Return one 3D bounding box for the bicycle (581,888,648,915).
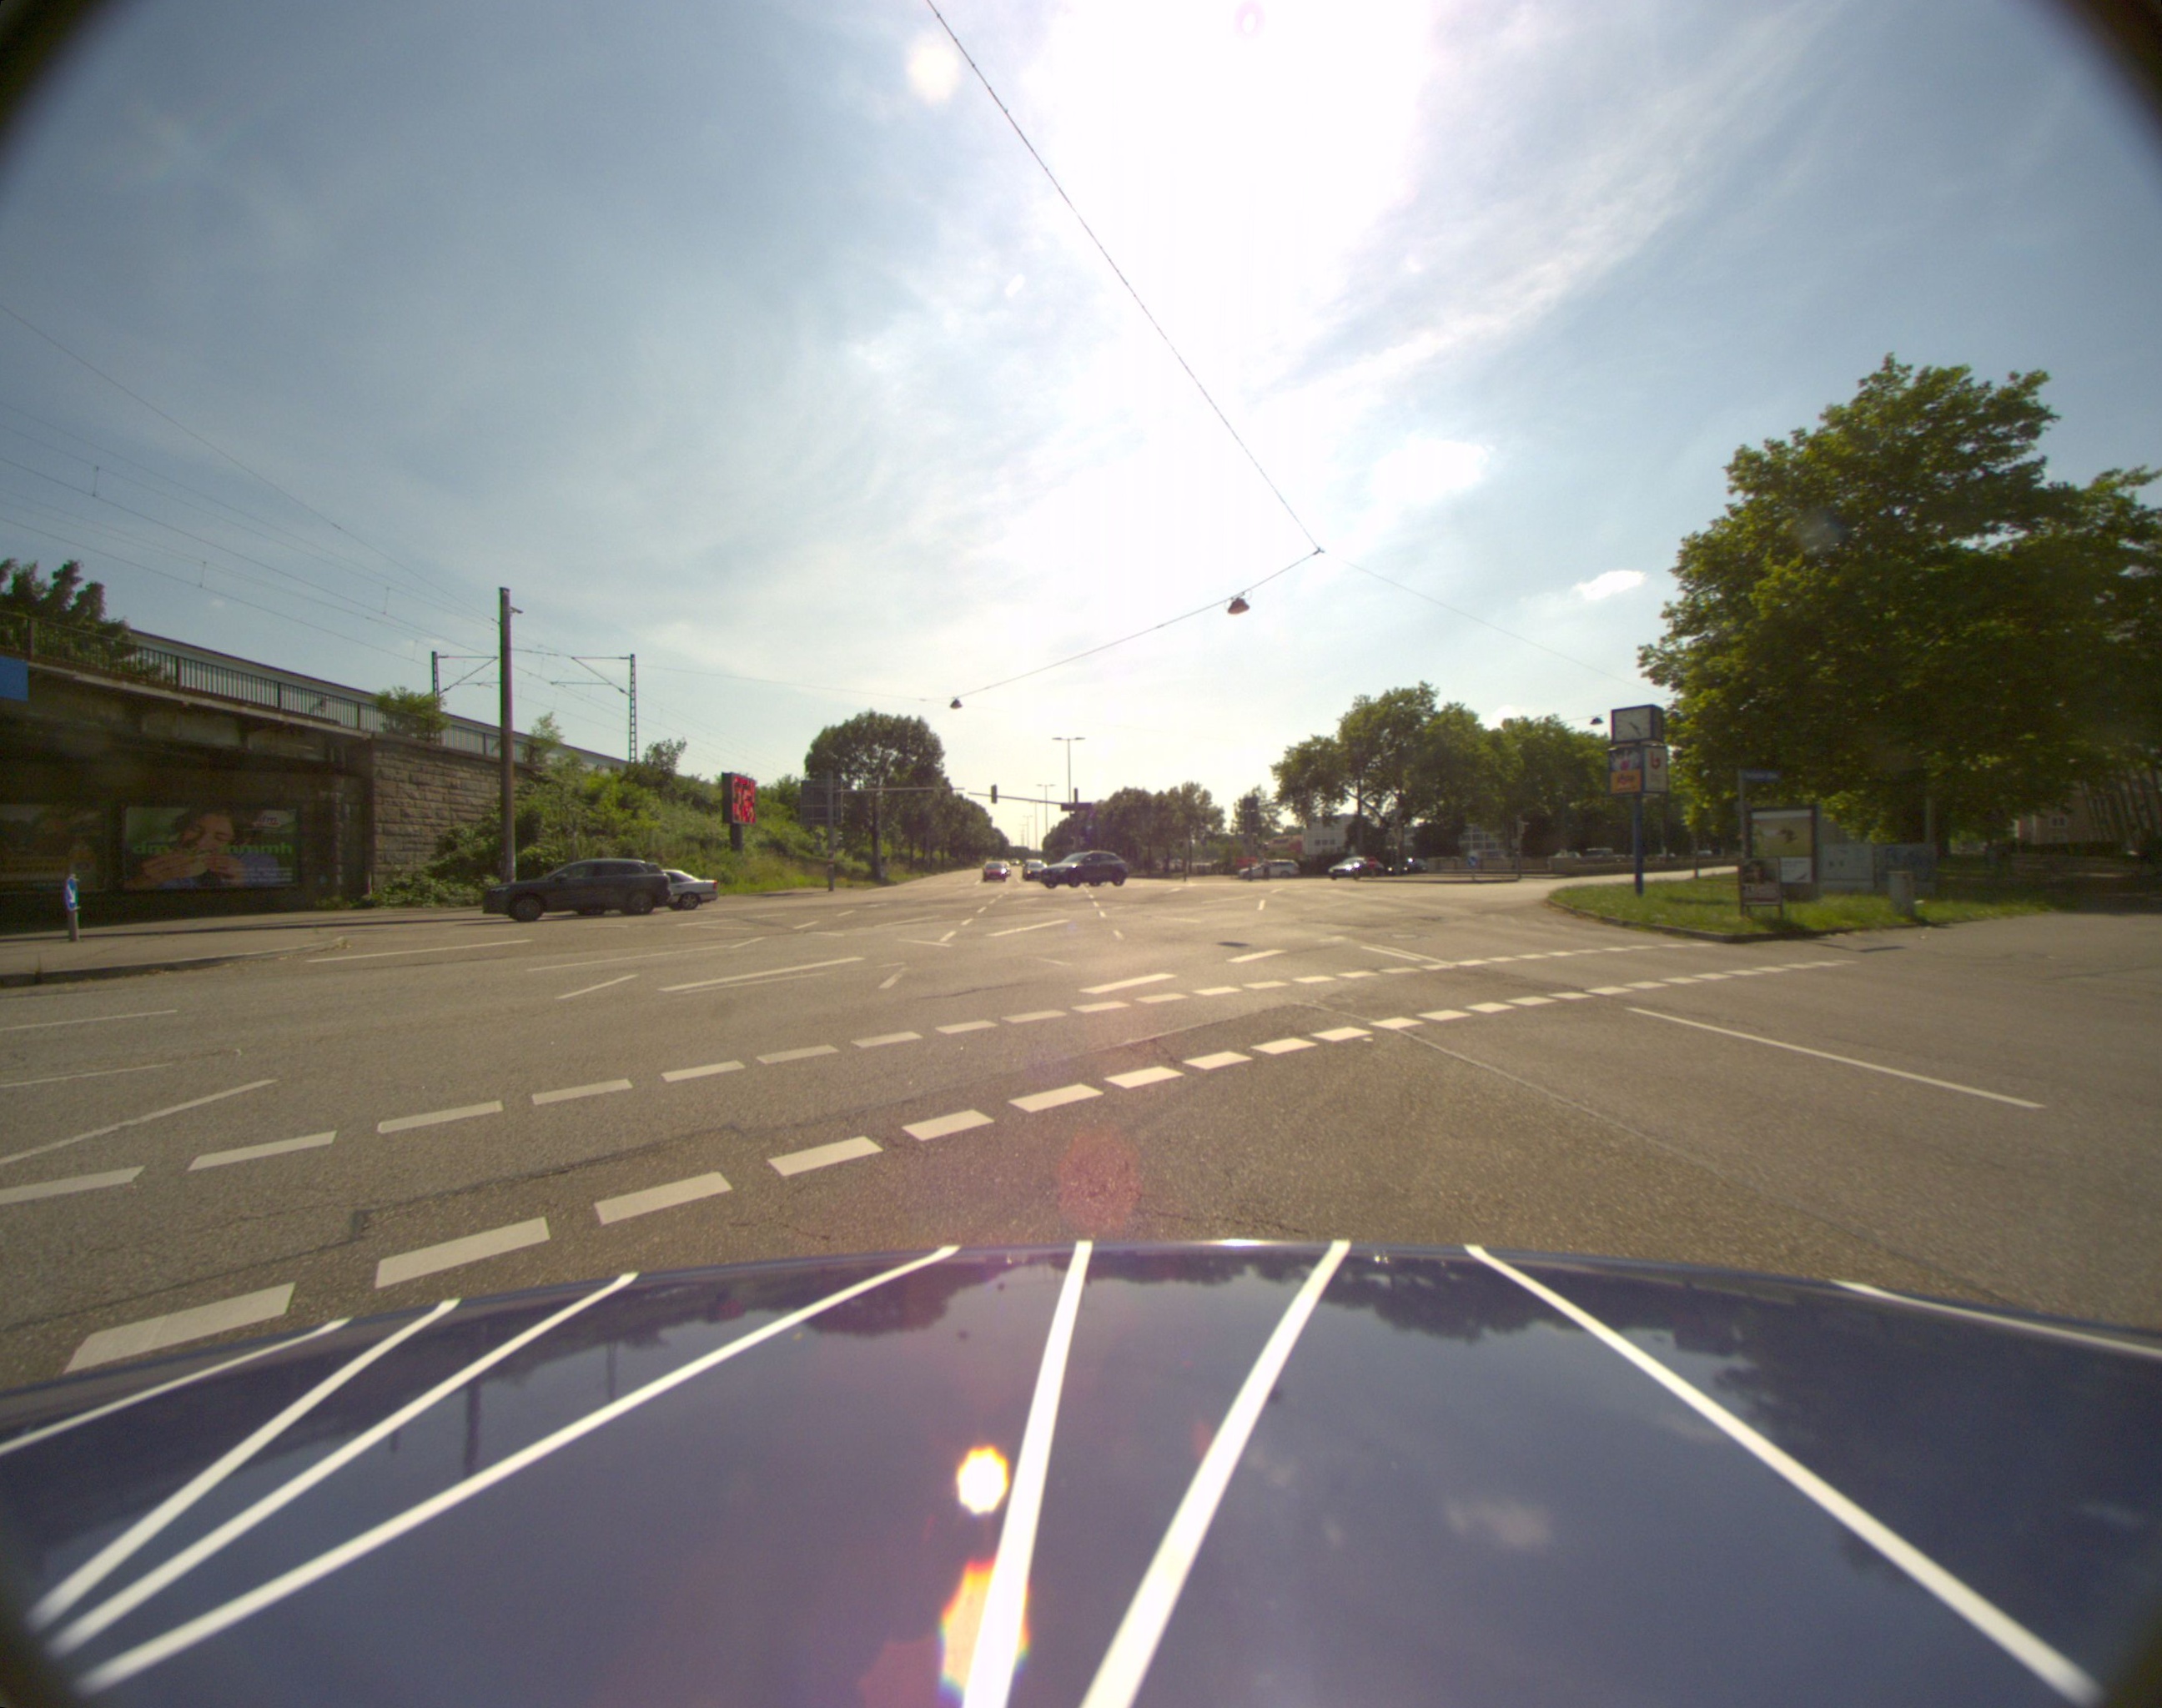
[{"bbox_3d":[-16.462,1.666,26.834,1.930,0.887,0.816,0,-2,-41],"label":"bicycle"}]

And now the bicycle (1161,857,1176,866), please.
[{"bbox_3d":[10.148,0.903,88.295,0.885,1.053,2.769,-1,0,-13],"label":"bicycle"}]

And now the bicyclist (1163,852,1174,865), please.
[{"bbox_3d":[10.155,0.525,88.199,0.885,1.434,0.965,-1,0,-13],"label":"bicyclist"}]

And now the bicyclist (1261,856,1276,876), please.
[{"bbox_3d":[13.673,0.897,55.444,0.773,1.427,0.920,-1,0,-10],"label":"bicyclist"}]

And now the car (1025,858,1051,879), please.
[{"bbox_3d":[-3.282,1.143,58.715,1.715,1.498,4.001,-2,-2,0],"label":"car"}]

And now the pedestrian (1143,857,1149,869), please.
[{"bbox_3d":[8.360,1.212,97.250,0.578,1.515,0.879,-1,0,-7],"label":"pedestrian"}]

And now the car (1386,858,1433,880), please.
[{"bbox_3d":[26.154,1.144,60.470,4.008,1.619,1.768,-1,1,-38],"label":"car"}]

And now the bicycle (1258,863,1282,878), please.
[{"bbox_3d":[13.710,1.206,55.306,0.773,1.047,2.399,-1,0,-10],"label":"bicycle"}]

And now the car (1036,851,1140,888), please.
[{"bbox_3d":[0.351,0.650,34.048,4.570,1.540,1.825,-1,-1,-41],"label":"car"}]

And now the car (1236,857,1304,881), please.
[{"bbox_3d":[15.244,1.223,61.192,5.154,1.713,2.003,-3,-2,18],"label":"car"}]

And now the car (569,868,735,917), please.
[{"bbox_3d":[-14.032,1.204,25.022,4.450,1.383,1.711,-1,-1,-42],"label":"car"}]

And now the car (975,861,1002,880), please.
[{"bbox_3d":[-7.513,1.369,61.934,1.715,1.498,4.001,-2,-2,0],"label":"car"}]

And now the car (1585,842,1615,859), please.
[{"bbox_3d":[62.536,-0.444,91.512,4.007,1.925,1.868,-1,0,-38],"label":"car"}]

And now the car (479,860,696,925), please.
[{"bbox_3d":[-14.030,1.021,21.794,4.985,1.598,1.943,-1,0,-41],"label":"car"}]

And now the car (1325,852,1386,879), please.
[{"bbox_3d":[17.760,0.744,49.098,4.008,1.603,1.815,0,-2,-37],"label":"car"}]

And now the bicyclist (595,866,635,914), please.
[{"bbox_3d":[-16.465,1.273,26.847,1.070,1.624,0.804,0,-2,-41],"label":"bicyclist"}]

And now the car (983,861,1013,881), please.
[{"bbox_3d":[-6.182,1.320,56.944,1.715,1.384,4.001,-2,-2,0],"label":"car"}]

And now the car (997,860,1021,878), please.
[{"bbox_3d":[-6.491,1.422,68.990,1.715,1.498,4.001,-2,-2,0],"label":"car"}]
